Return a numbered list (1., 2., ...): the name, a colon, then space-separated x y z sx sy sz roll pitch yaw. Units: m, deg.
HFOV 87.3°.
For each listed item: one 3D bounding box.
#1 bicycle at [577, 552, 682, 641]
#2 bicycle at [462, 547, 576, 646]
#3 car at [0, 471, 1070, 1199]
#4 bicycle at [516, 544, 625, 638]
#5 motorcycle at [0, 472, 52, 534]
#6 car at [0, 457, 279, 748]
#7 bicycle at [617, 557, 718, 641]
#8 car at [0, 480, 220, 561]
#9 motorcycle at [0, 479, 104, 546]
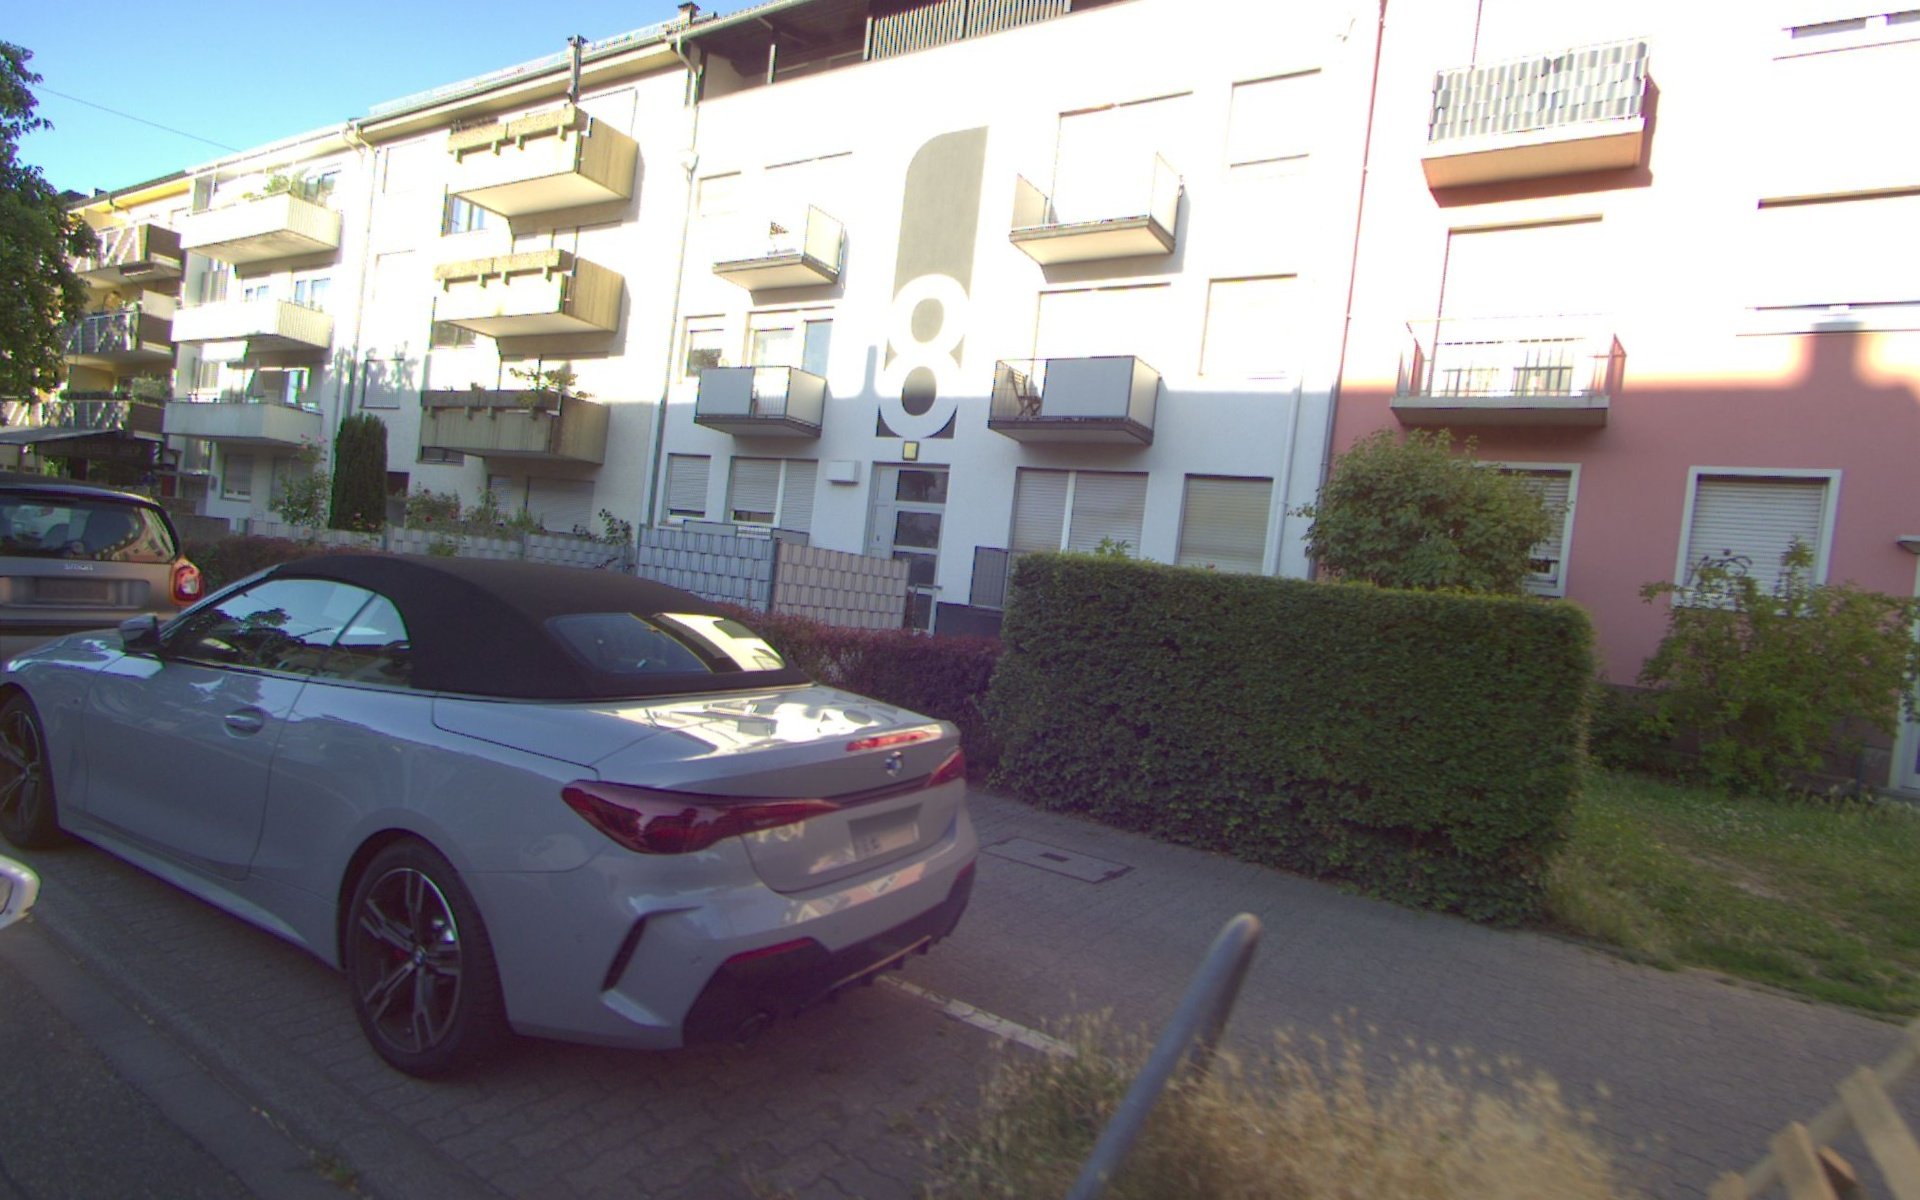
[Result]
1. bicycle: -4.810 -0.065 14.601 1.519 1.103 0.493 8 1 32
2. bicycle: -5.732 -0.057 13.042 1.519 1.103 0.493 8 1 32
3. car: -2.140 0.462 4.172 4.664 1.505 1.923 7 1 29
4. bicycle: -5.367 -0.136 13.817 1.519 1.103 0.493 8 1 32
5. motorcycle: -27.981 -2.890 29.245 0.720 1.641 2.192 8 1 39
6. car: -6.793 -0.119 7.132 3.694 1.663 1.775 6 0 31
7. bicycle: -4.487 -0.025 15.394 1.519 1.103 0.493 8 1 32
8. car: -22.107 -2.022 26.299 1.793 1.480 3.993 8 0 29
9. motorcycle: -26.740 -2.555 29.569 0.876 1.641 2.192 8 1 39
